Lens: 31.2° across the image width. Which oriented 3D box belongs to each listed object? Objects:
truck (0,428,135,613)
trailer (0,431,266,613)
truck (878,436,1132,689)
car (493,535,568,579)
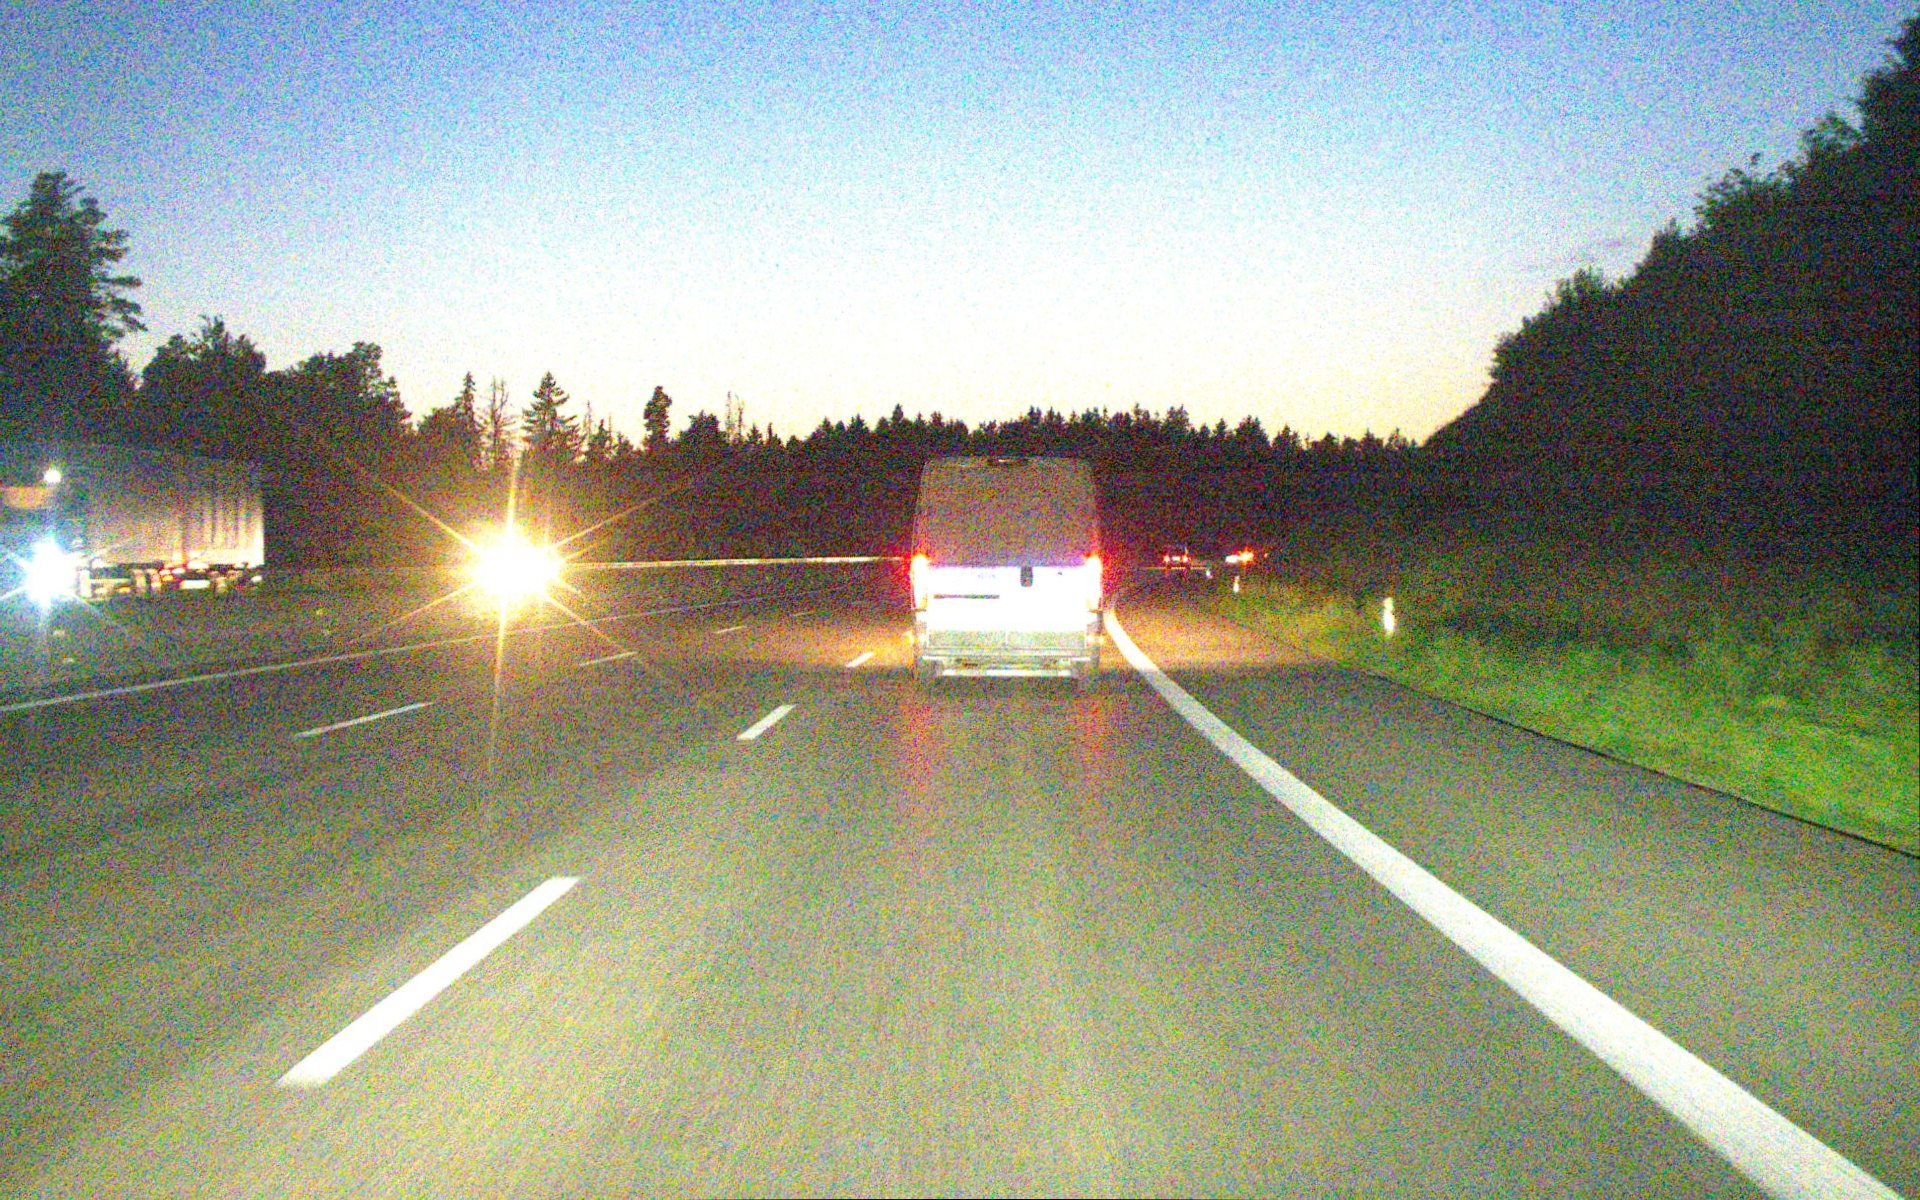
[{"bbox_3d":[-21.425,-1.809,80.561,2.714,4.185,5.420,0,0,2],"label":"truck"},{"bbox_3d":[-21.204,-1.850,88.400,2.688,4.203,17.252,0,0,2],"label":"trailer"},{"bbox_3d":[0.548,-0.408,40.081,2.630,2.615,8.684,0,0,1],"label":"truck"},{"bbox_3d":[-15.769,-1.557,126.399,1.993,1.574,4.584,0,0,2],"label":"car"}]
